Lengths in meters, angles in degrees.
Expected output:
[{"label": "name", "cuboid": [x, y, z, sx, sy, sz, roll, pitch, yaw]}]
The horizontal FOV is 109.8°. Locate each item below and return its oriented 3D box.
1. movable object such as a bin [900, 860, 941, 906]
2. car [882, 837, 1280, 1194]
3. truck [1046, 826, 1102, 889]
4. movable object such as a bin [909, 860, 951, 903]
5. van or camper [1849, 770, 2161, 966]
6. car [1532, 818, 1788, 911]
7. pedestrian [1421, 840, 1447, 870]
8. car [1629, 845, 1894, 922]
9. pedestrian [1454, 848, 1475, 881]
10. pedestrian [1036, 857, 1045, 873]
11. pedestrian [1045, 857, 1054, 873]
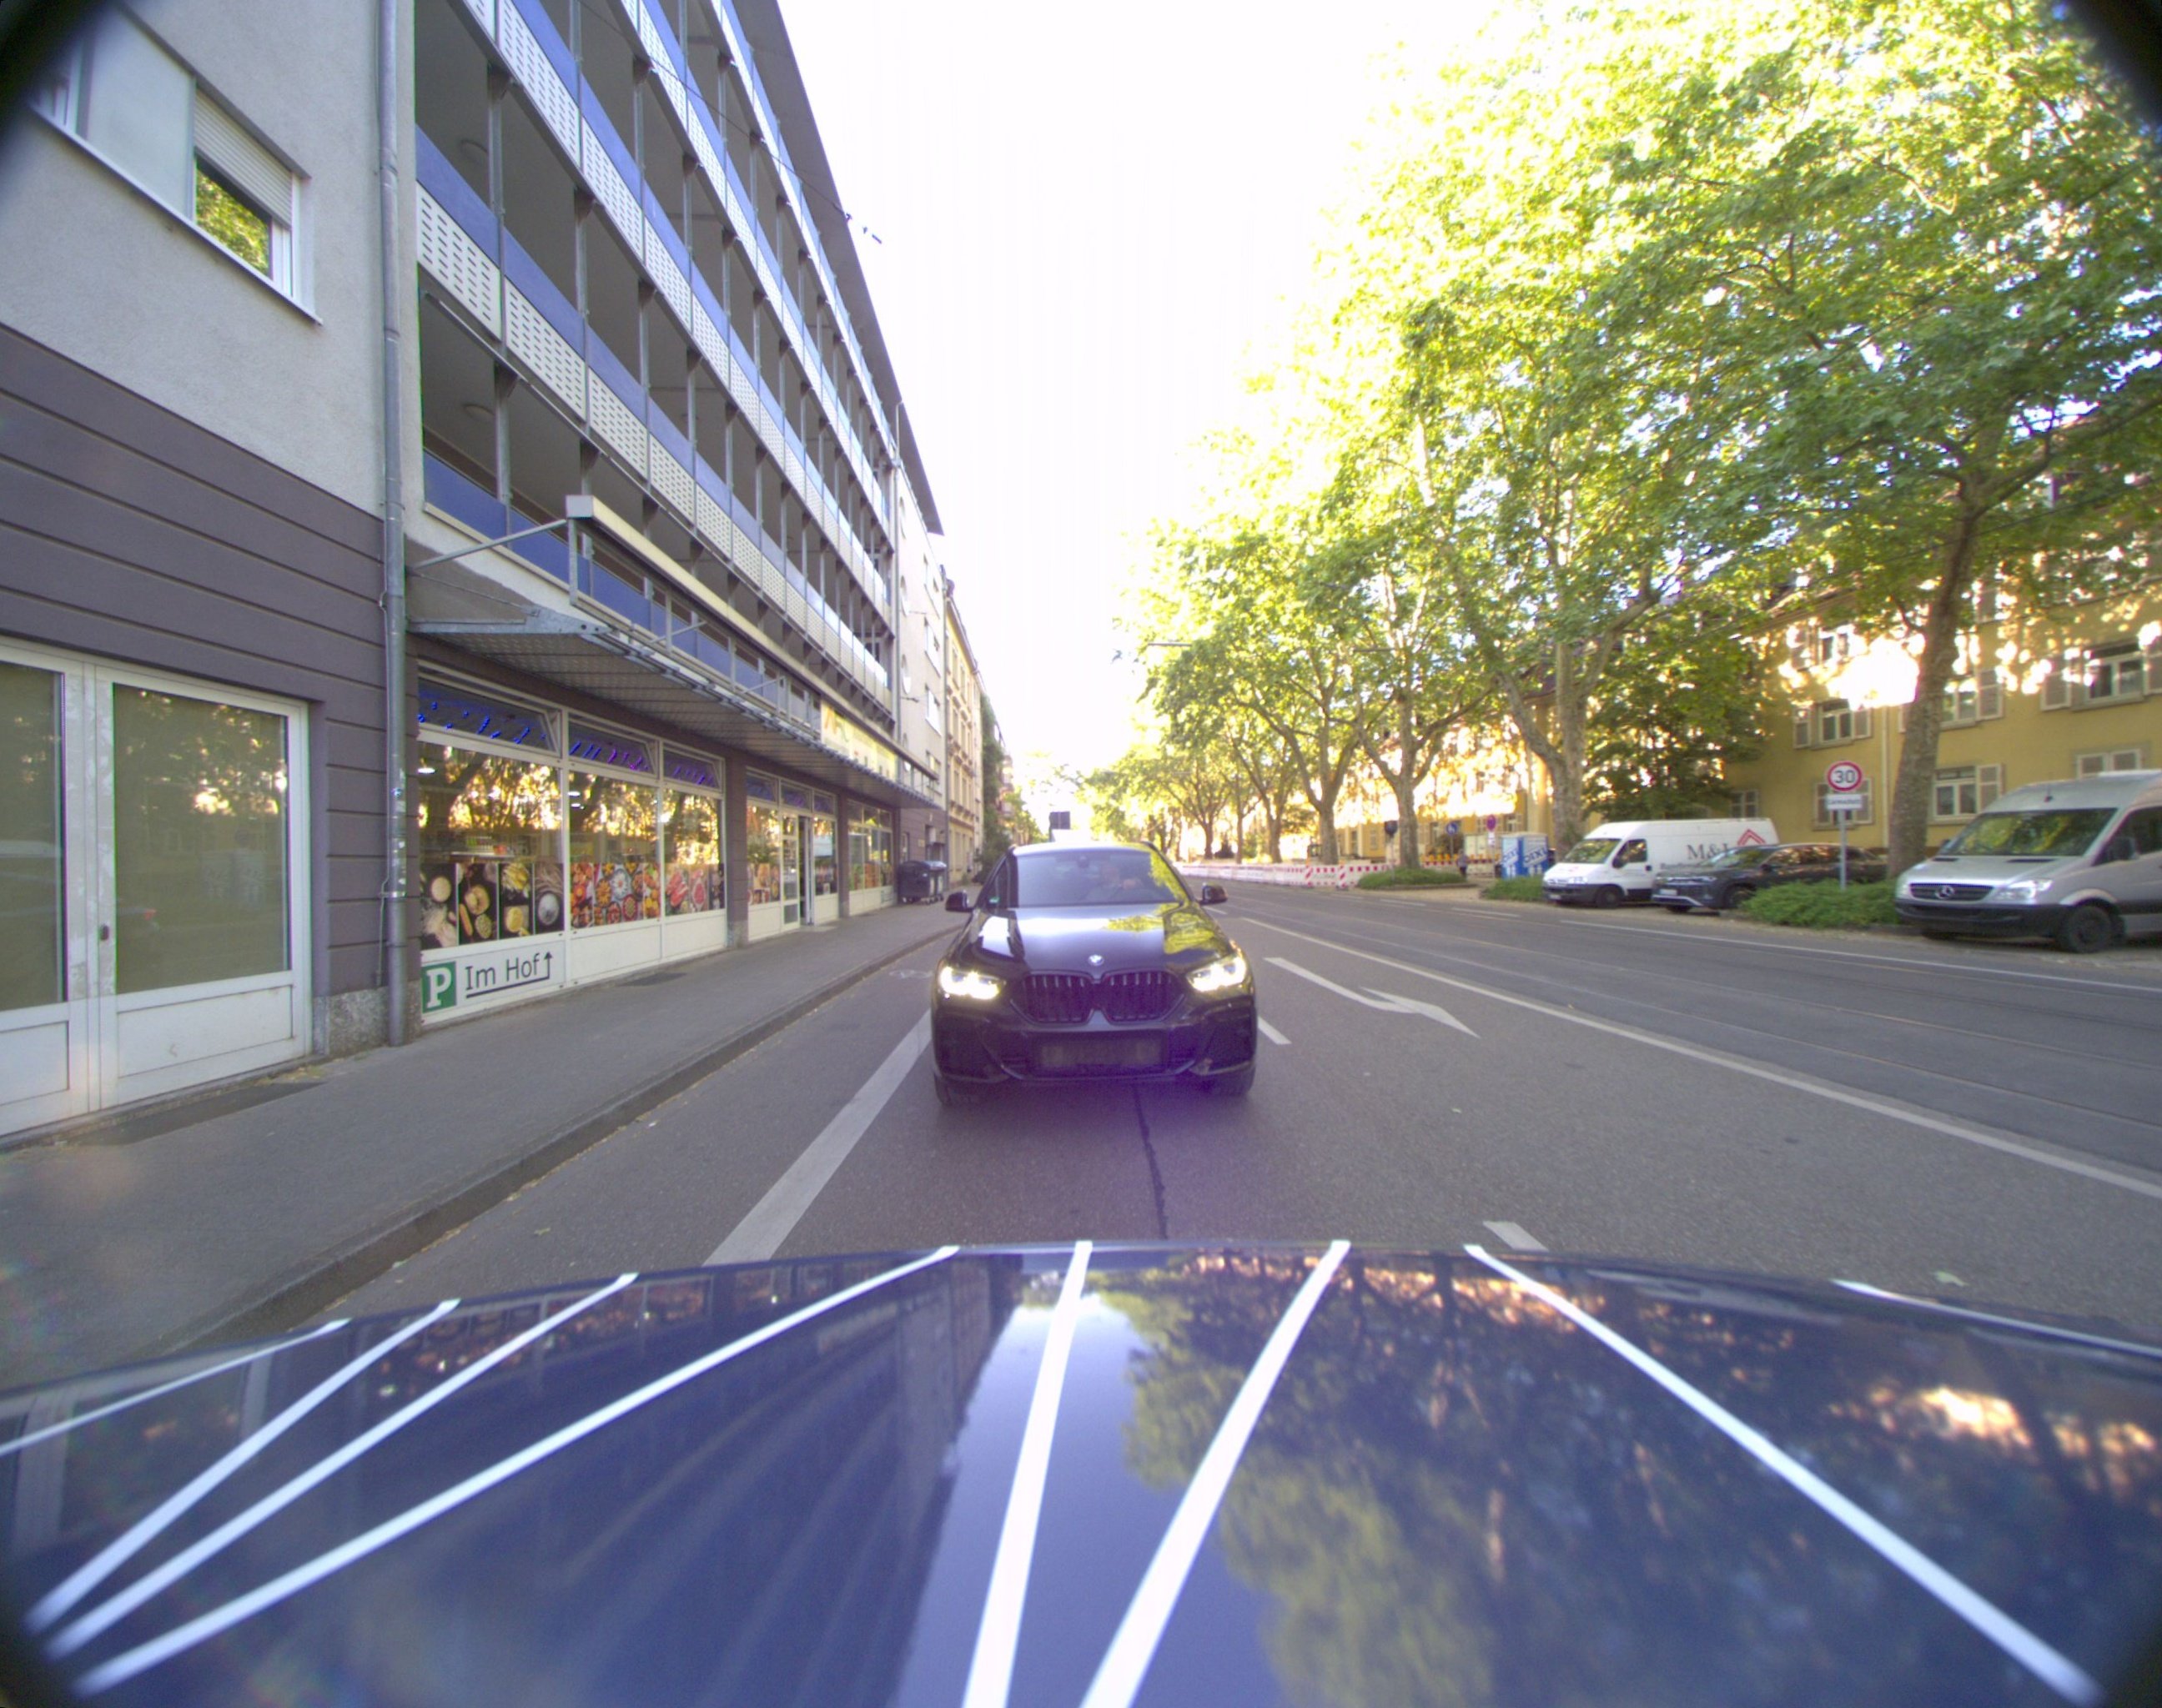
[{"label": "movable object such as a bin", "cuboid": [-5.225, 0.936, 24.812, 1.069, 1.438, 1.296, -1, 0, -1]}, {"label": "car", "cuboid": [0.023, 0.826, 6.058, 1.943, 1.733, 4.475, -2, 0, 1]}, {"label": "truck", "cuboid": [-0.574, 0.205, 43.156, 2.385, 3.165, 8.525, 2, 0, -5]}, {"label": "movable object such as a bin", "cuboid": [-5.285, 0.956, 26.707, 1.122, 1.437, 1.306, -1, 0, 4]}, {"label": "van or camper", "cuboid": [16.091, 0.130, 11.800, 6.127, 2.661, 2.229, -2, 0, -2]}, {"label": "car", "cuboid": [15.854, 0.276, 21.000, 5.612, 2.361, 2.025, -1, 0, -2]}, {"label": "pedestrian", "cuboid": [24.043, 0.099, 51.789, 1.098, 2.002, 1.235, -1, 0, -4]}, {"label": "car", "cuboid": [15.942, 0.659, 17.974, 4.575, 1.621, 1.969, -1, 0, -2]}, {"label": "pedestrian", "cuboid": [18.407, 0.506, 36.463, 0.596, 1.563, 0.717, -1, 0, -1]}, {"label": "pedestrian", "cuboid": [-4.487, 1.238, 83.544, 0.876, 1.728, 0.848, -3, 1, 1]}, {"label": "pedestrian", "cuboid": [-3.441, 1.183, 83.961, 0.876, 1.728, 0.848, -3, 1, 1]}]
